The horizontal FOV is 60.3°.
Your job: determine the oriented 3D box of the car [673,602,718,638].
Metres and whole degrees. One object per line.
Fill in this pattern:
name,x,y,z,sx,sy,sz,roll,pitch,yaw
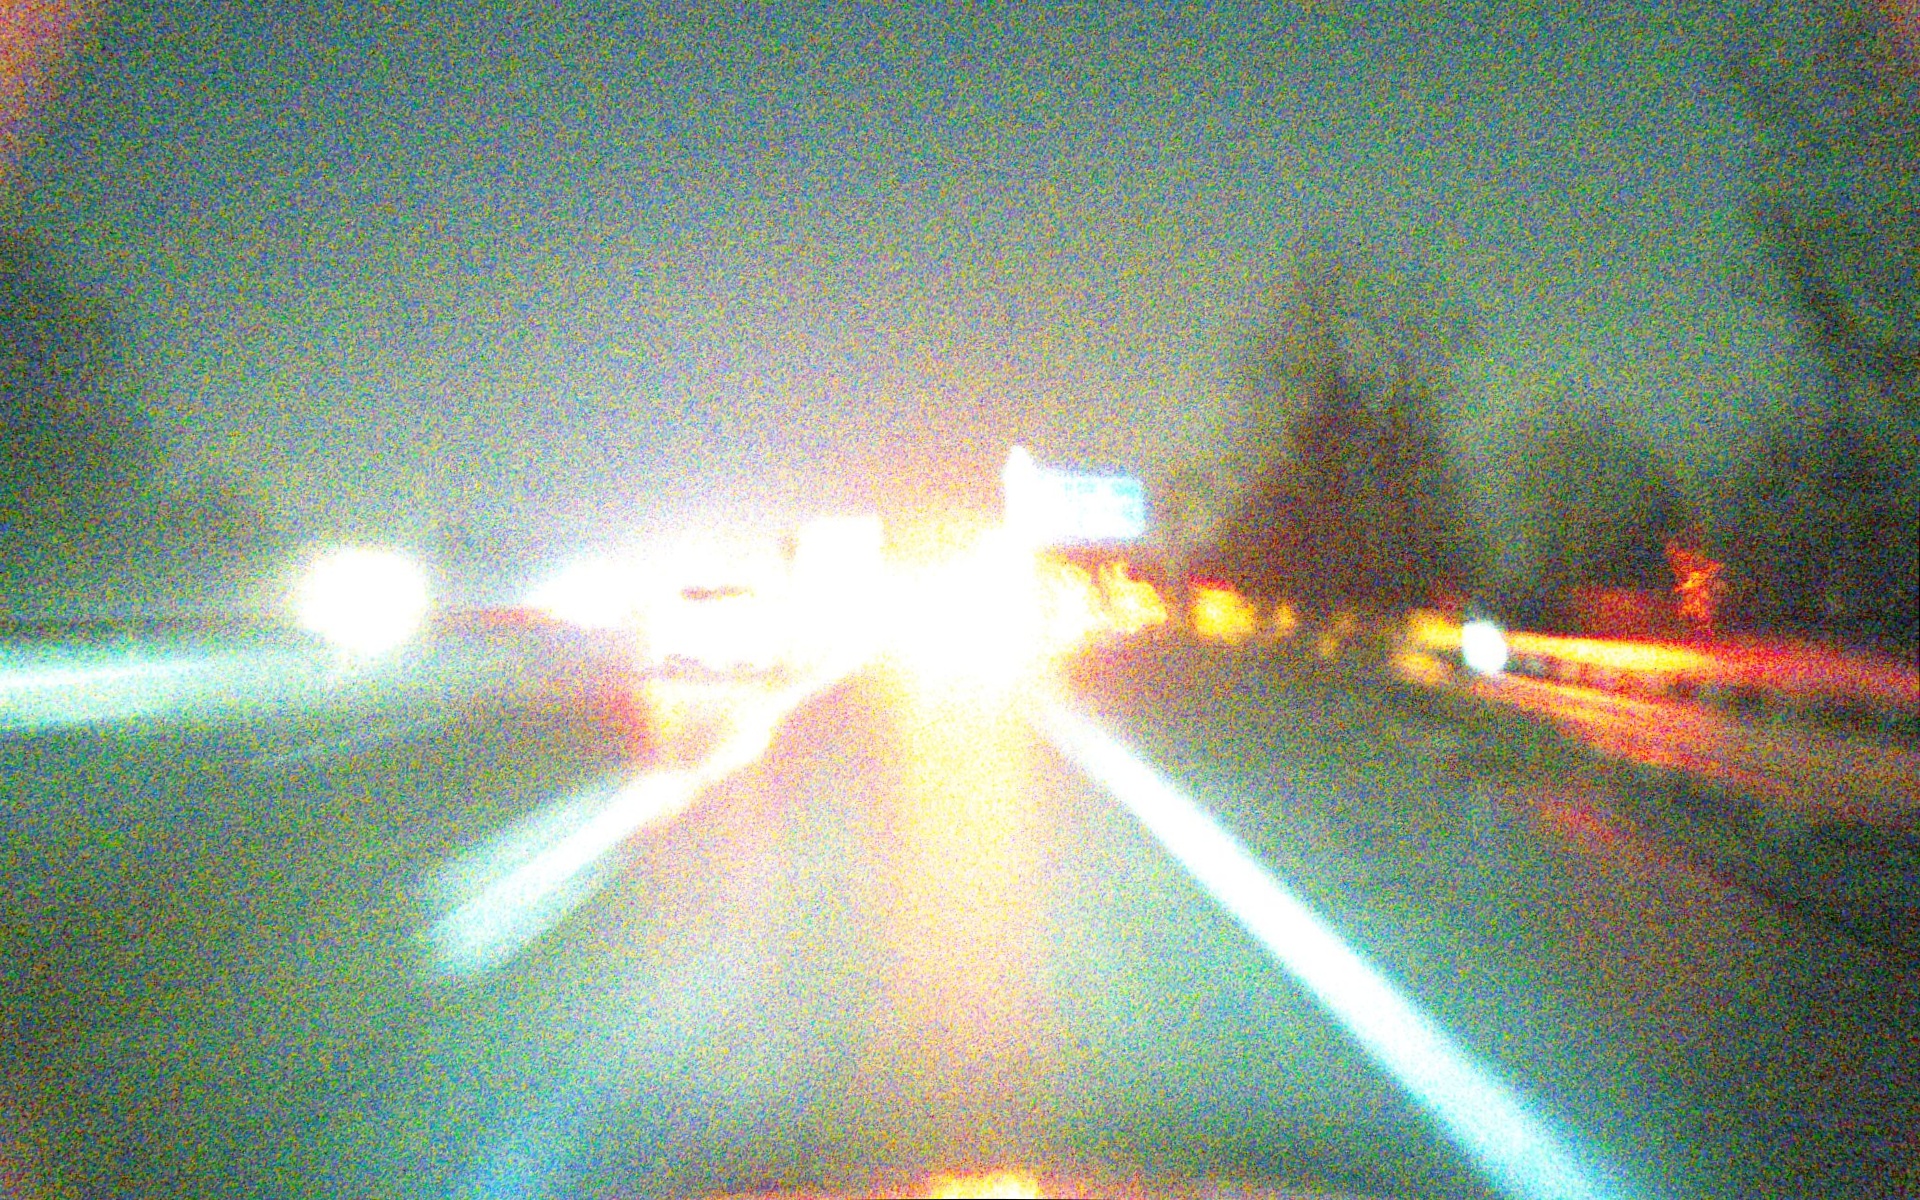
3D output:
car,-12.535,0.941,78.534,1.956,1.624,3.993,1,0,-7

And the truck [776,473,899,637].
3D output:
truck,-4.589,-1.597,64.710,4.125,5.747,11.463,1,0,-2

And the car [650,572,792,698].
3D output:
car,-4.185,0.579,29.676,2.084,2.049,4.642,1,0,-3

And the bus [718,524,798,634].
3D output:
bus,-9.111,-0.897,75.665,3.036,4.587,10.903,1,0,-4

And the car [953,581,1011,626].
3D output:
car,0.916,0.137,72.092,1.956,1.839,3.993,1,0,-8

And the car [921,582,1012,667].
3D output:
car,0.114,0.550,38.518,1.953,1.839,3.999,1,0,-1
